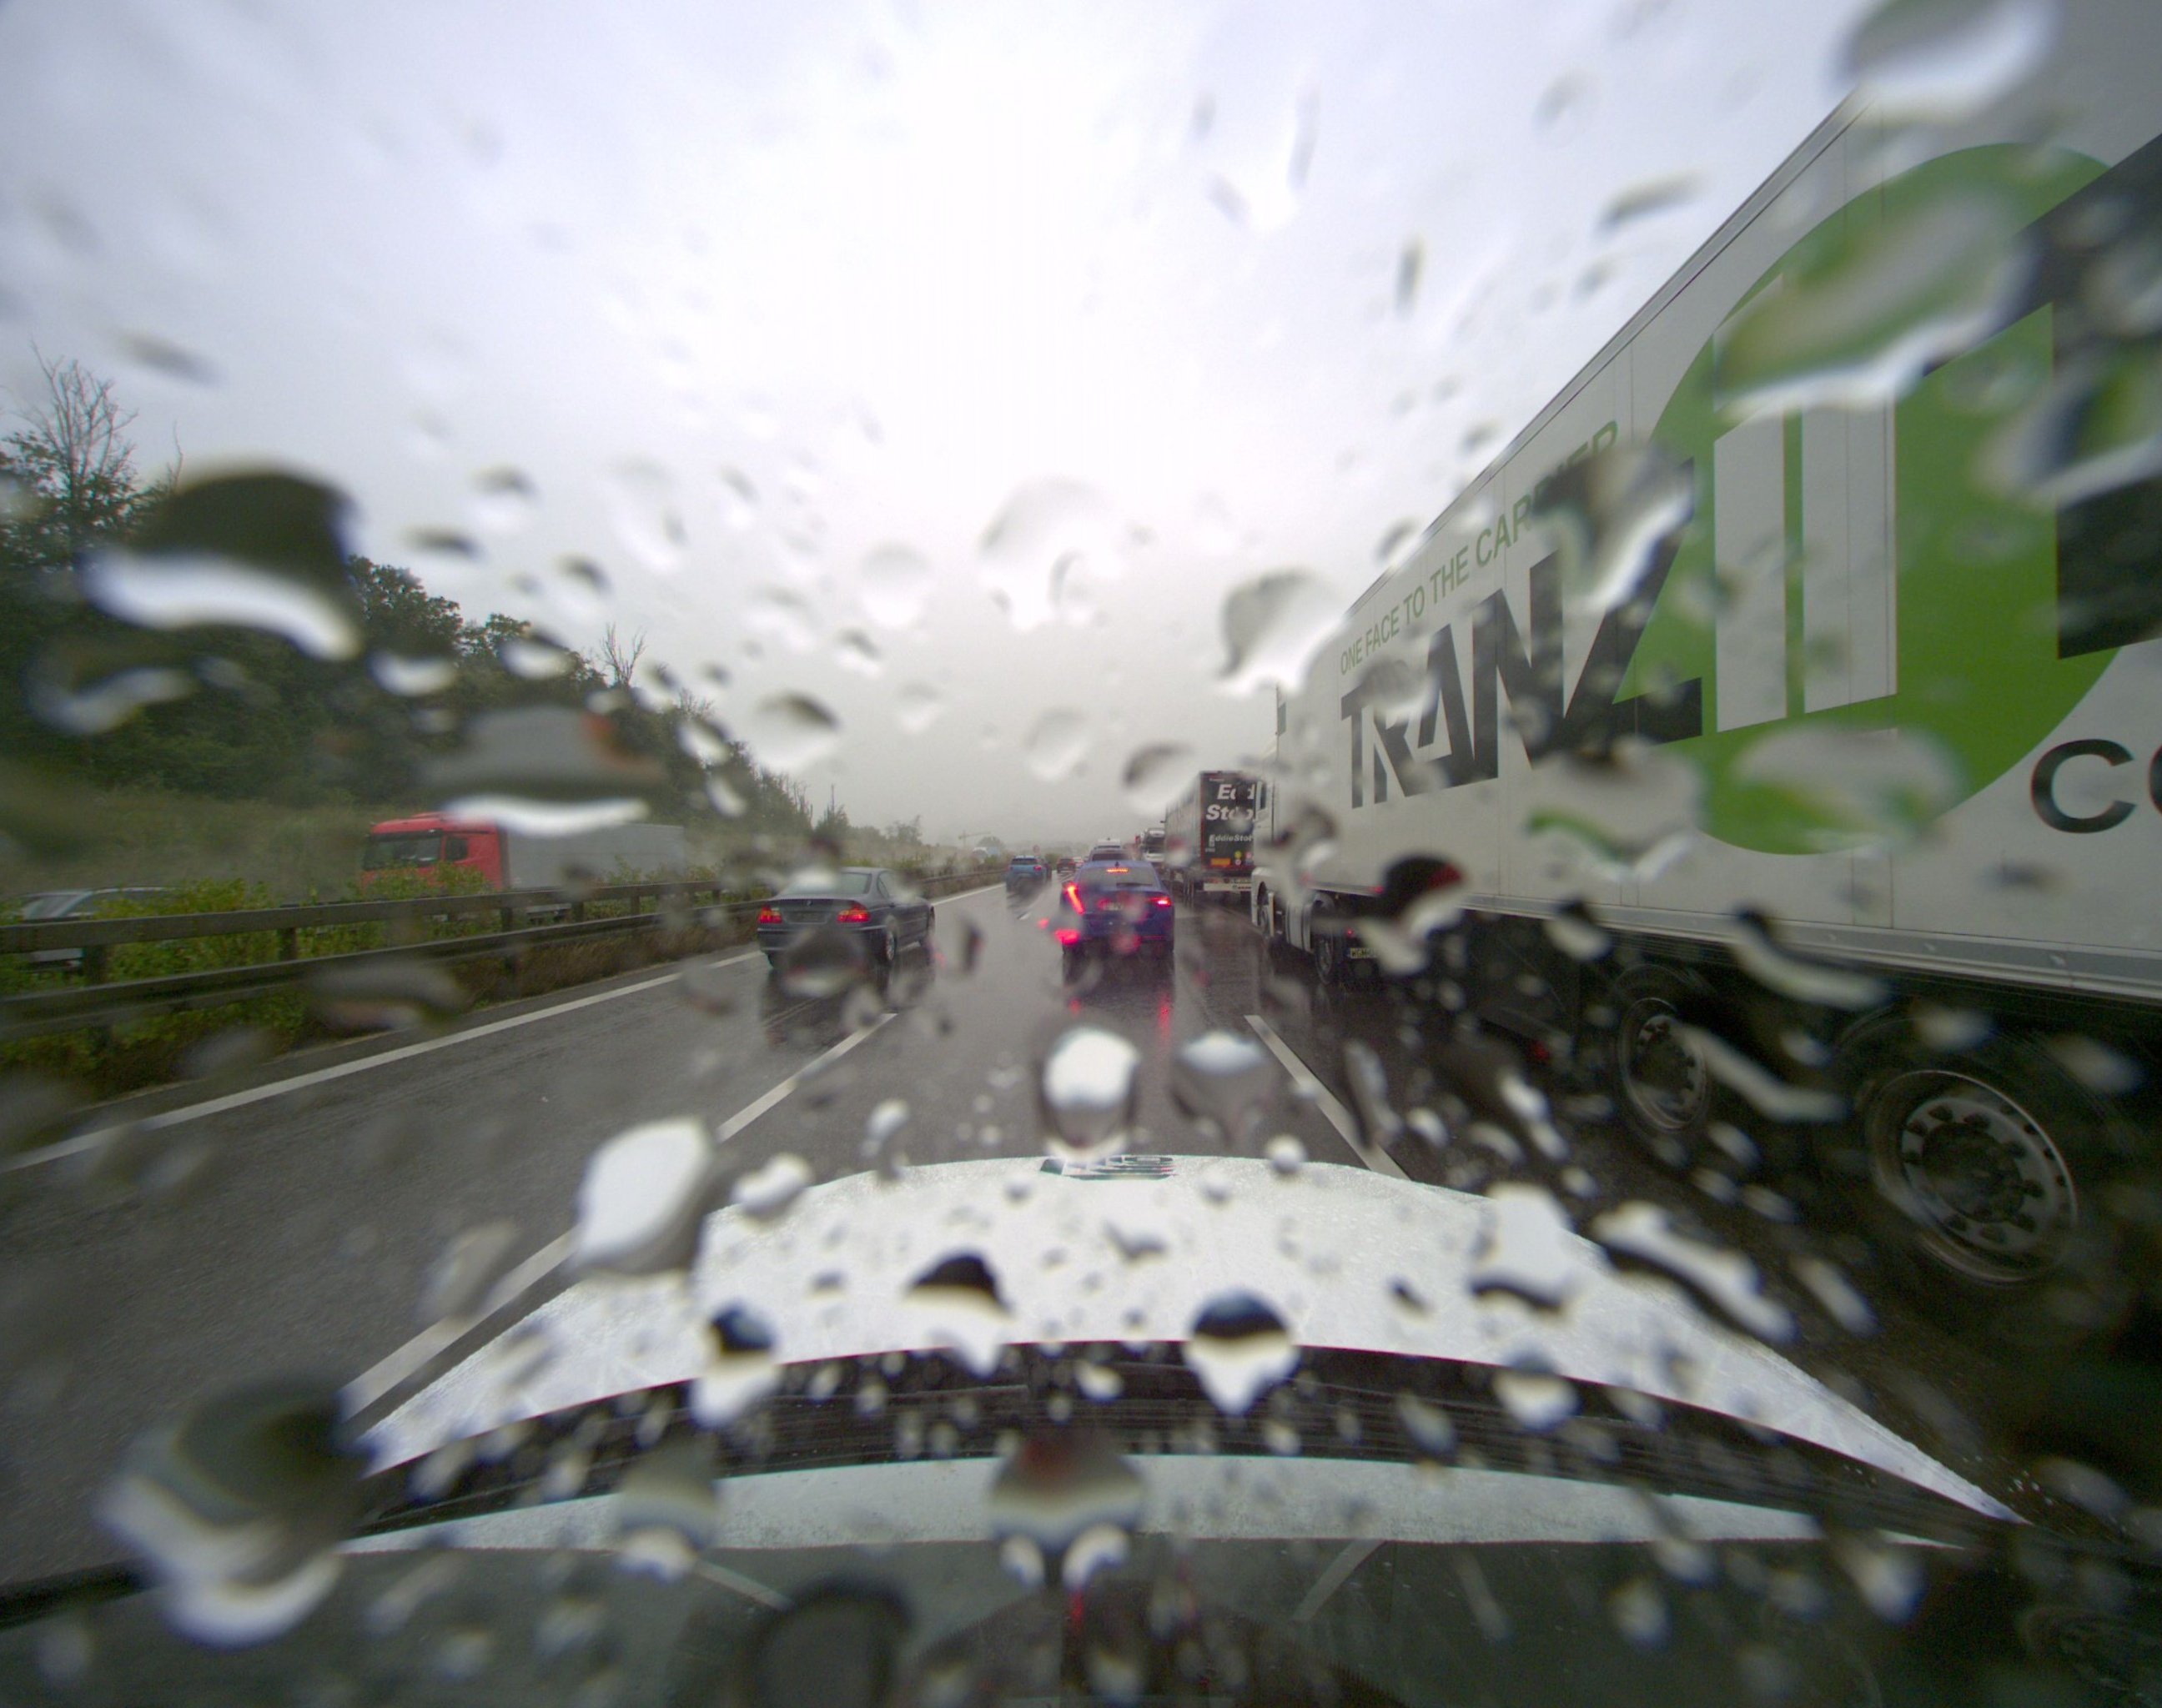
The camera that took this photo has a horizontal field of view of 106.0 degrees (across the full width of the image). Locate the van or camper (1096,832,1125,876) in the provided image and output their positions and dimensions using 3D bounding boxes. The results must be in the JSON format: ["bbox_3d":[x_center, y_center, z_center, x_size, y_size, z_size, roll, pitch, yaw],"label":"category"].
[{"bbox_3d":[2.019,-0.013,55.622,1.790,2.806,4.770,-1,0,2],"label":"van or camper"}]

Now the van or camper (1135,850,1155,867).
[{"bbox_3d":[6.274,0.441,80.408,1.765,1.625,4.486,-1,1,2],"label":"van or camper"}]

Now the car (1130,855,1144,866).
[{"bbox_3d":[7.431,0.875,108.097,1.632,1.328,3.368,-1,1,2],"label":"car"}]

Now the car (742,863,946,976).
[{"bbox_3d":[-3.432,0.880,12.685,1.711,1.400,4.233,-1,0,3],"label":"car"}]

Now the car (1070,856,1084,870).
[{"bbox_3d":[-0.437,1.015,95.111,1.434,1.533,3.323,-1,0,2],"label":"car"}]

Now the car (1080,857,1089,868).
[{"bbox_3d":[0.551,1.440,136.399,1.443,1.784,3.411,-1,0,2],"label":"car"}]

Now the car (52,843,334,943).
[{"bbox_3d":[-20.107,0.781,18.749,1.986,2.013,4.002,-1,0,2],"label":"car"}]

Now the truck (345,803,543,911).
[{"bbox_3d":[-20.186,0.107,26.164,2.676,3.151,4.606,-1,0,1],"label":"truck"}]

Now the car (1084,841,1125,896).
[{"bbox_3d":[0.833,0.476,28.722,1.331,1.780,3.323,-1,0,2],"label":"car"}]

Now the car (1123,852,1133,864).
[{"bbox_3d":[7.097,0.556,124.093,1.443,1.784,3.411,-1,0,2],"label":"car"}]

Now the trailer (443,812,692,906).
[{"bbox_3d":[-19.923,0.189,32.947,2.675,3.151,11.090,-1,0,2],"label":"trailer"}]

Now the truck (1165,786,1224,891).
[{"bbox_3d":[4.757,-0.622,34.638,2.039,4.193,4.002,-1,0,2],"label":"truck"}]

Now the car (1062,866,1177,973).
[{"bbox_3d":[0.657,0.974,13.713,1.629,1.445,4.003,-1,0,3],"label":"car"}]

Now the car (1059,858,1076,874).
[{"bbox_3d":[-1.282,1.113,77.715,1.434,1.420,3.323,-1,0,2],"label":"car"}]

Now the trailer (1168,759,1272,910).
[{"bbox_3d":[4.500,-0.565,28.461,2.039,4.176,11.454,-1,0,2],"label":"trailer"}]

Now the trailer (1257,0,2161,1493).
[{"bbox_3d":[3.828,-0.617,5.428,2.620,4.013,14.637,-1,0,2],"label":"trailer"}]

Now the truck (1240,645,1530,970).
[{"bbox_3d":[4.077,-0.561,12.085,2.620,3.827,4.794,-1,0,2],"label":"truck"}]

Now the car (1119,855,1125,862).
[{"bbox_3d":[10.864,1.157,215.068,1.443,1.784,3.411,-1,0,2],"label":"car"}]

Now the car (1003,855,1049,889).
[{"bbox_3d":[-2.634,0.830,39.858,1.714,1.523,4.003,-1,0,3],"label":"car"}]

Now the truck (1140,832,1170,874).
[{"bbox_3d":[6.330,-0.112,70.688,1.986,3.421,8.033,-1,1,1],"label":"truck"}]
